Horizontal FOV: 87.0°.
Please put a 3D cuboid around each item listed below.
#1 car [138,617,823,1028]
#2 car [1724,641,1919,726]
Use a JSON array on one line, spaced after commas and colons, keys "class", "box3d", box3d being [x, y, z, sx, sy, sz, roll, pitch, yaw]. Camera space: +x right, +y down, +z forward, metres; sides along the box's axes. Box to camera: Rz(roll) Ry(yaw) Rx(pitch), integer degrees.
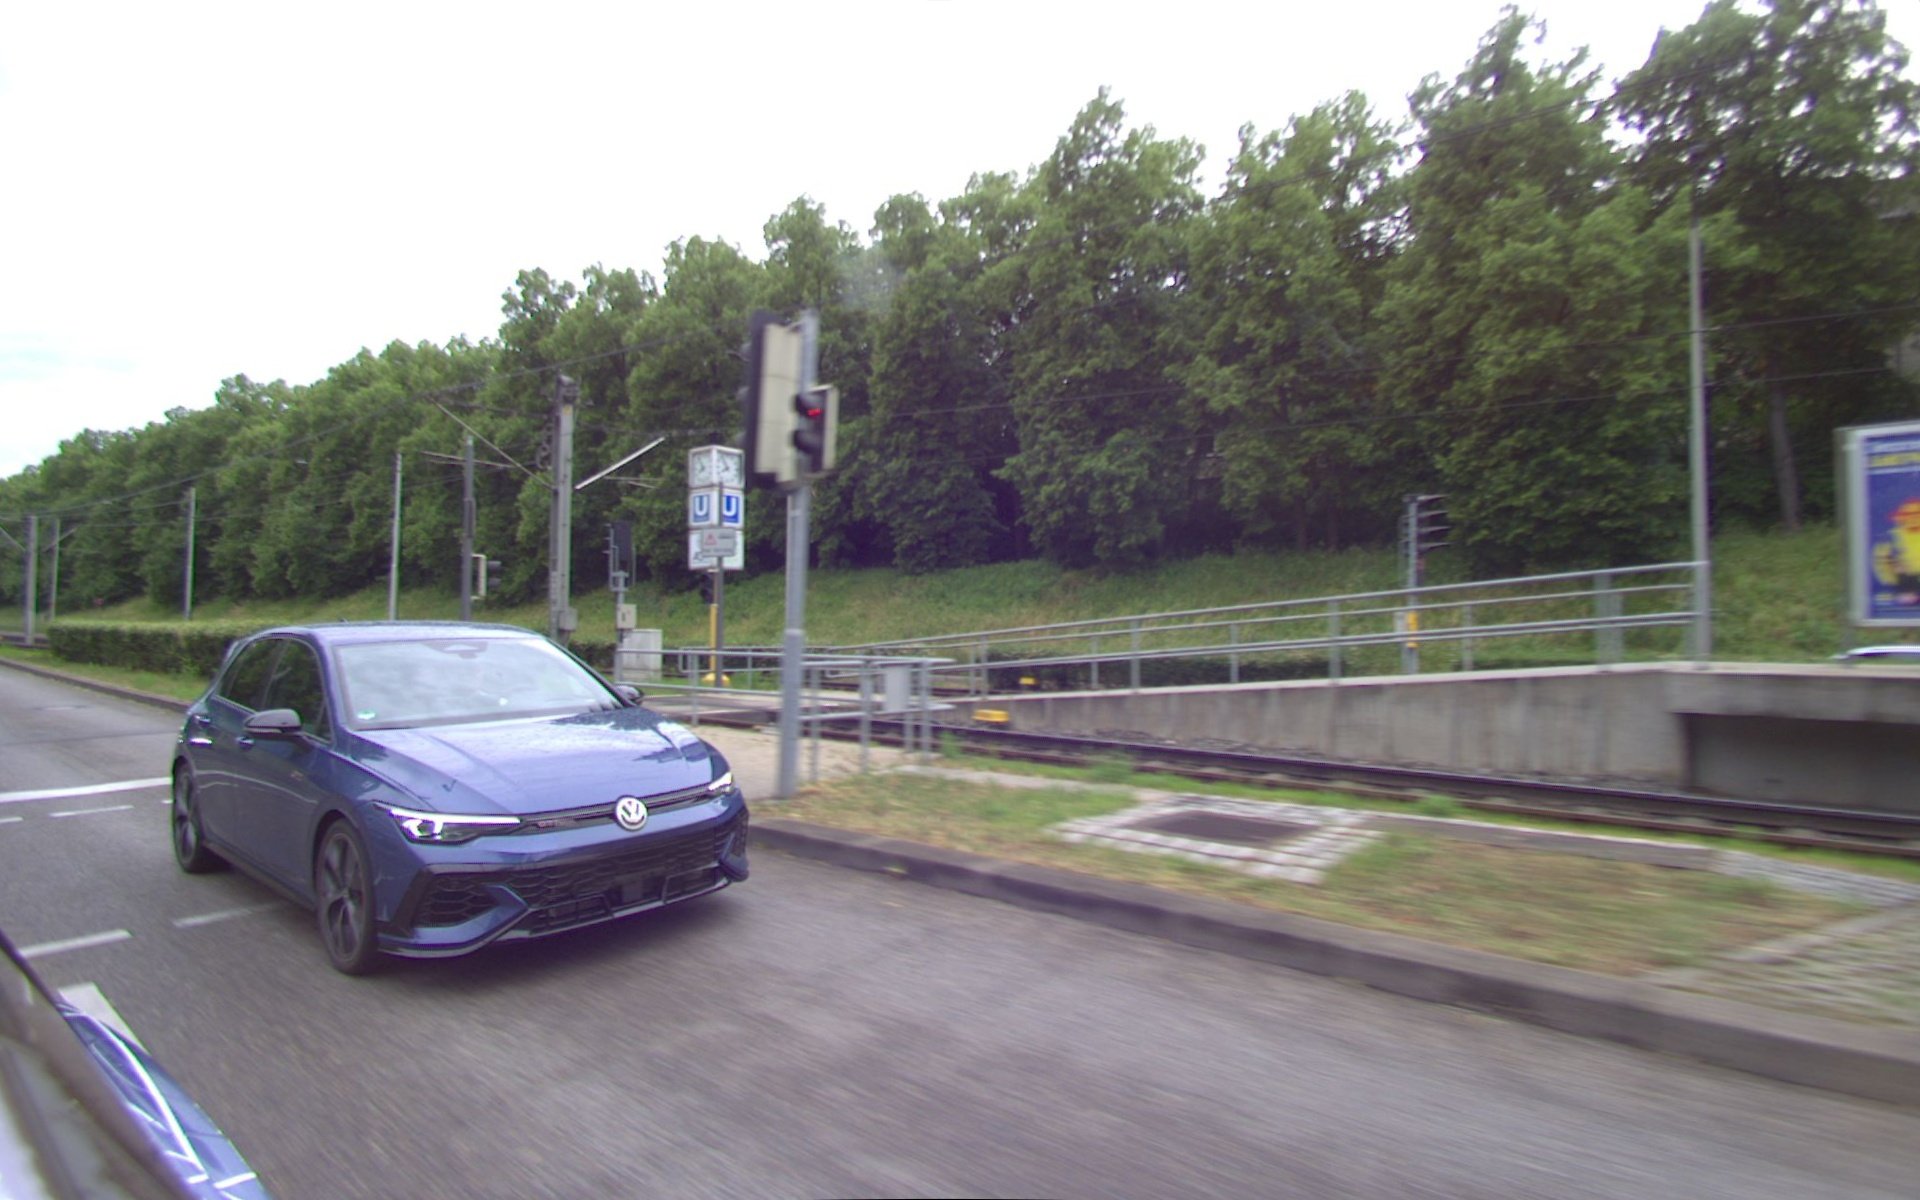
[{"class": "car", "box3d": [-2.879, 0.813, 5.563, 4.344, 1.389, 1.790, -1, -1, 40]}, {"class": "car", "box3d": [16.576, 1.488, 18.554, 3.991, 1.414, 1.780, -1, -2, 35]}]
